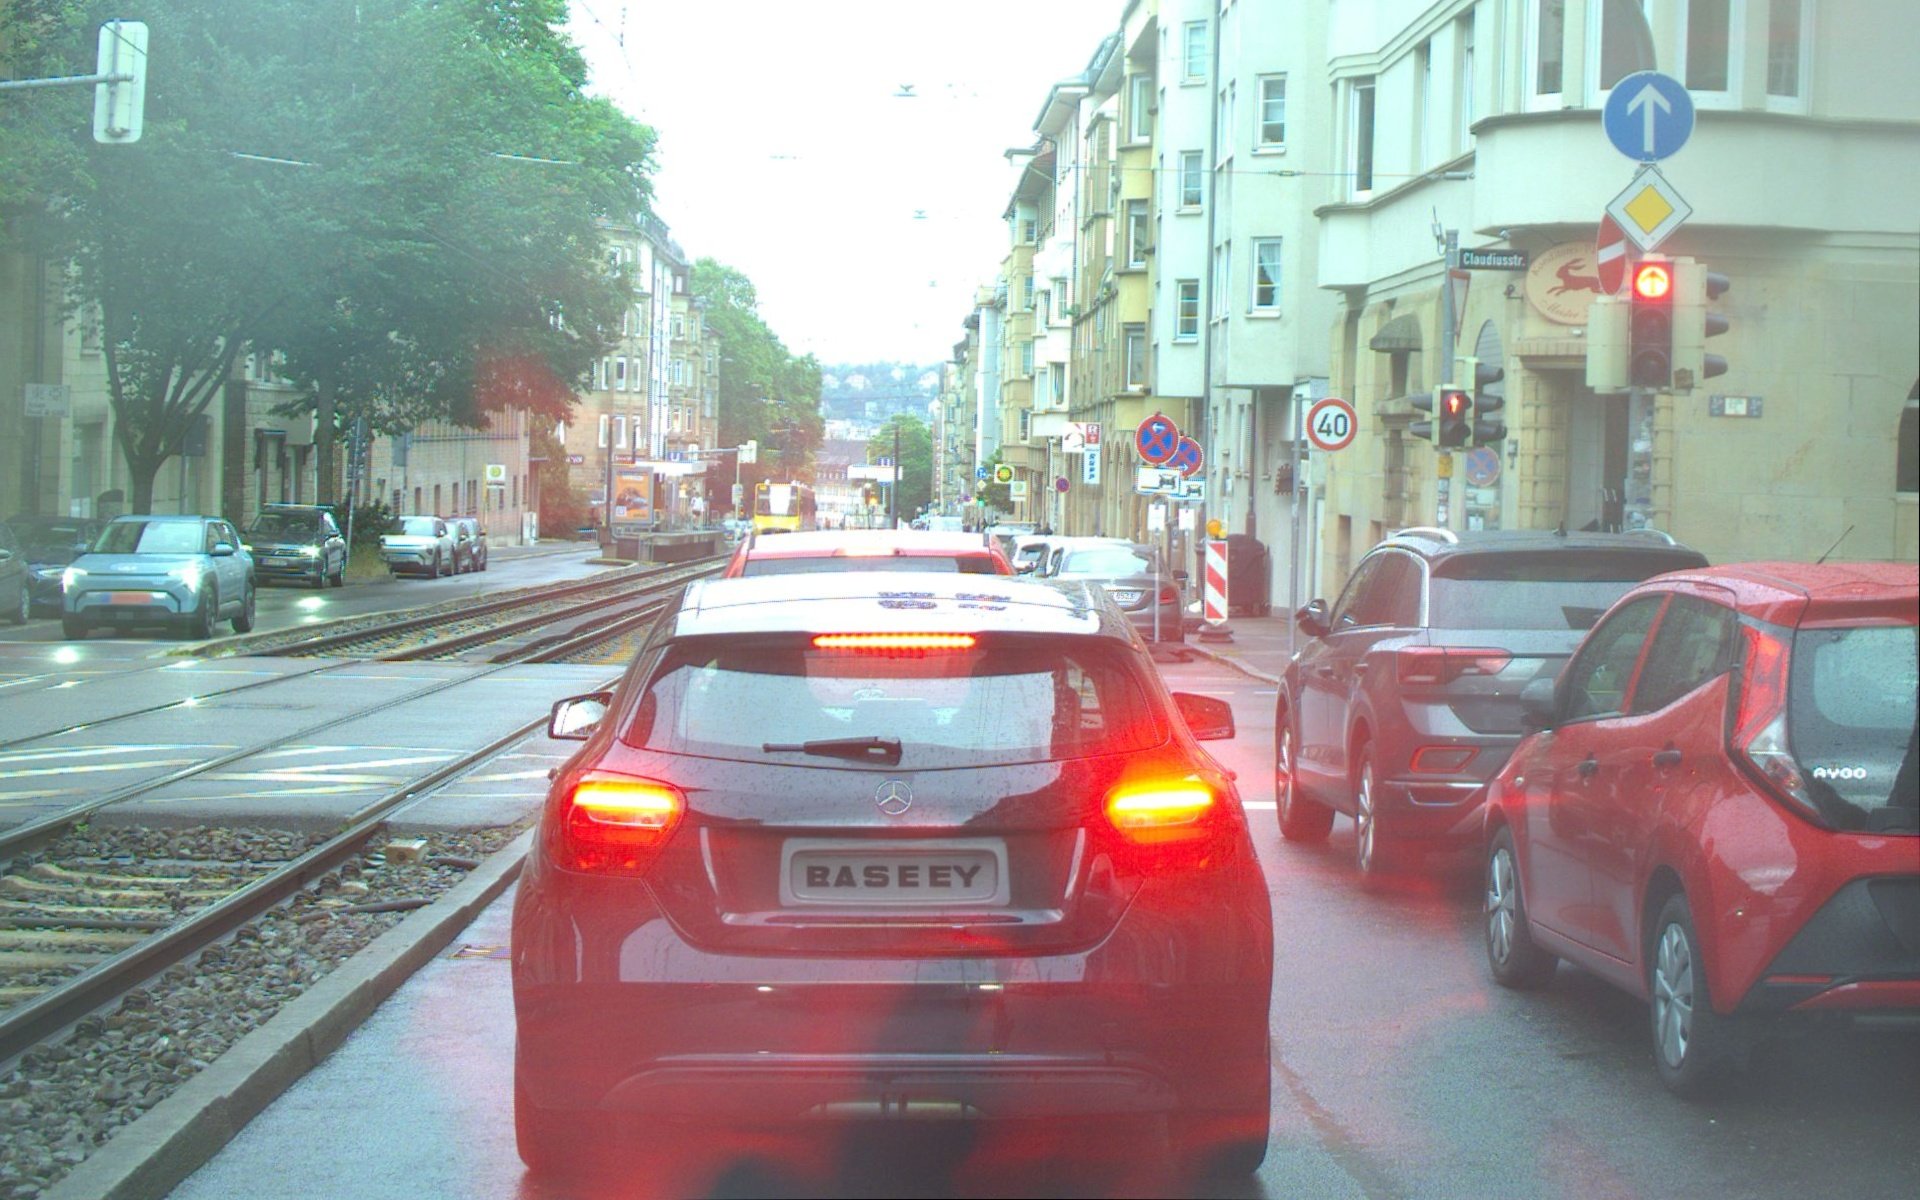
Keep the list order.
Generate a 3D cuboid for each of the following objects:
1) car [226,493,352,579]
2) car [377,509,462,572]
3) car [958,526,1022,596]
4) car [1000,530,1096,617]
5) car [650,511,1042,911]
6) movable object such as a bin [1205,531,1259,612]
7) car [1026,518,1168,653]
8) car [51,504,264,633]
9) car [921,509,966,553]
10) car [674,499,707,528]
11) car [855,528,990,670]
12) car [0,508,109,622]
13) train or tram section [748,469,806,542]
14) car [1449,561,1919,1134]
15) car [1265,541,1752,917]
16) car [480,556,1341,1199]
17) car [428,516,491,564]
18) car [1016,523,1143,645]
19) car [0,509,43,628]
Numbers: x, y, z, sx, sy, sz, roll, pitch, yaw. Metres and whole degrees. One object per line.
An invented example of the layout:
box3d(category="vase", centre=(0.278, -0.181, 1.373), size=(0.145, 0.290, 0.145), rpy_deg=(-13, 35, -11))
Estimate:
box3d(category="car", centre=(-13.960, -1.318, 71.703), size=(1.875, 1.731, 3.918), rpy_deg=(1, 0, -1))
box3d(category="car", centre=(-13.996, -1.532, 89.166), size=(1.589, 1.575, 3.918), rpy_deg=(1, 0, -1))
box3d(category="car", centre=(0.632, -0.845, 73.594), size=(1.294, 1.437, 2.929), rpy_deg=(1, 1, -1))
box3d(category="car", centre=(1.550, -0.490, 61.525), size=(1.544, 1.481, 3.548), rpy_deg=(1, 1, -1))
box3d(category="car", centre=(-0.485, 0.434, 15.844), size=(1.565, 1.604, 3.814), rpy_deg=(1, 0, -1))
box3d(category="movable object such as a bin", centre=(4.708, -0.493, 59.572), size=(0.878, 1.384, 0.982), rpy_deg=(1, 0, 3))
box3d(category="car", centre=(1.664, -0.204, 42.641), size=(1.544, 1.585, 3.548), rpy_deg=(1, 1, -1))
box3d(category="car", centre=(-10.463, -0.412, 45.080), size=(1.898, 1.582, 3.973), rpy_deg=(1, 0, -1))
box3d(category="car", centre=(-0.748, -3.087, 154.330), size=(1.993, 1.870, 4.000), rpy_deg=(1, 0, -1))
box3d(category="car", centre=(-12.272, -3.940, 156.682), size=(1.377, 1.245, 3.298), rpy_deg=(1, 0, -2))
box3d(category="car", centre=(-0.447, -0.044, 41.997), size=(1.544, 1.630, 3.686), rpy_deg=(1, 1, 0))
box3d(category="car", centre=(-13.740, -0.517, 50.724), size=(1.716, 1.605, 3.919), rpy_deg=(1, 0, -5))
box3d(category="train or tram section", centre=(-10.232, -5.260, 193.045), size=(2.783, 3.847, 10.430), rpy_deg=(1, 0, -1))
box3d(category="car", centre=(2.643, 0.630, 10.525), size=(1.642, 1.443, 3.299), rpy_deg=(1, 1, -3))
box3d(category="car", centre=(2.380, 0.487, 15.764), size=(1.544, 1.481, 3.830), rpy_deg=(1, 1, -1))
box3d(category="car", centre=(-0.133, 0.635, 9.457), size=(1.829, 1.453, 4.104), rpy_deg=(1, 1, -1))
box3d(category="car", centre=(-14.339, -1.716, 98.576), size=(1.448, 1.326, 3.272), rpy_deg=(1, 0, -2))
box3d(category="car", centre=(1.608, -0.240, 47.116), size=(1.544, 1.585, 3.548), rpy_deg=(1, 1, -1))
box3d(category="car", centre=(-13.488, -0.430, 45.694), size=(1.752, 1.547, 4.036), rpy_deg=(1, 0, -4))
